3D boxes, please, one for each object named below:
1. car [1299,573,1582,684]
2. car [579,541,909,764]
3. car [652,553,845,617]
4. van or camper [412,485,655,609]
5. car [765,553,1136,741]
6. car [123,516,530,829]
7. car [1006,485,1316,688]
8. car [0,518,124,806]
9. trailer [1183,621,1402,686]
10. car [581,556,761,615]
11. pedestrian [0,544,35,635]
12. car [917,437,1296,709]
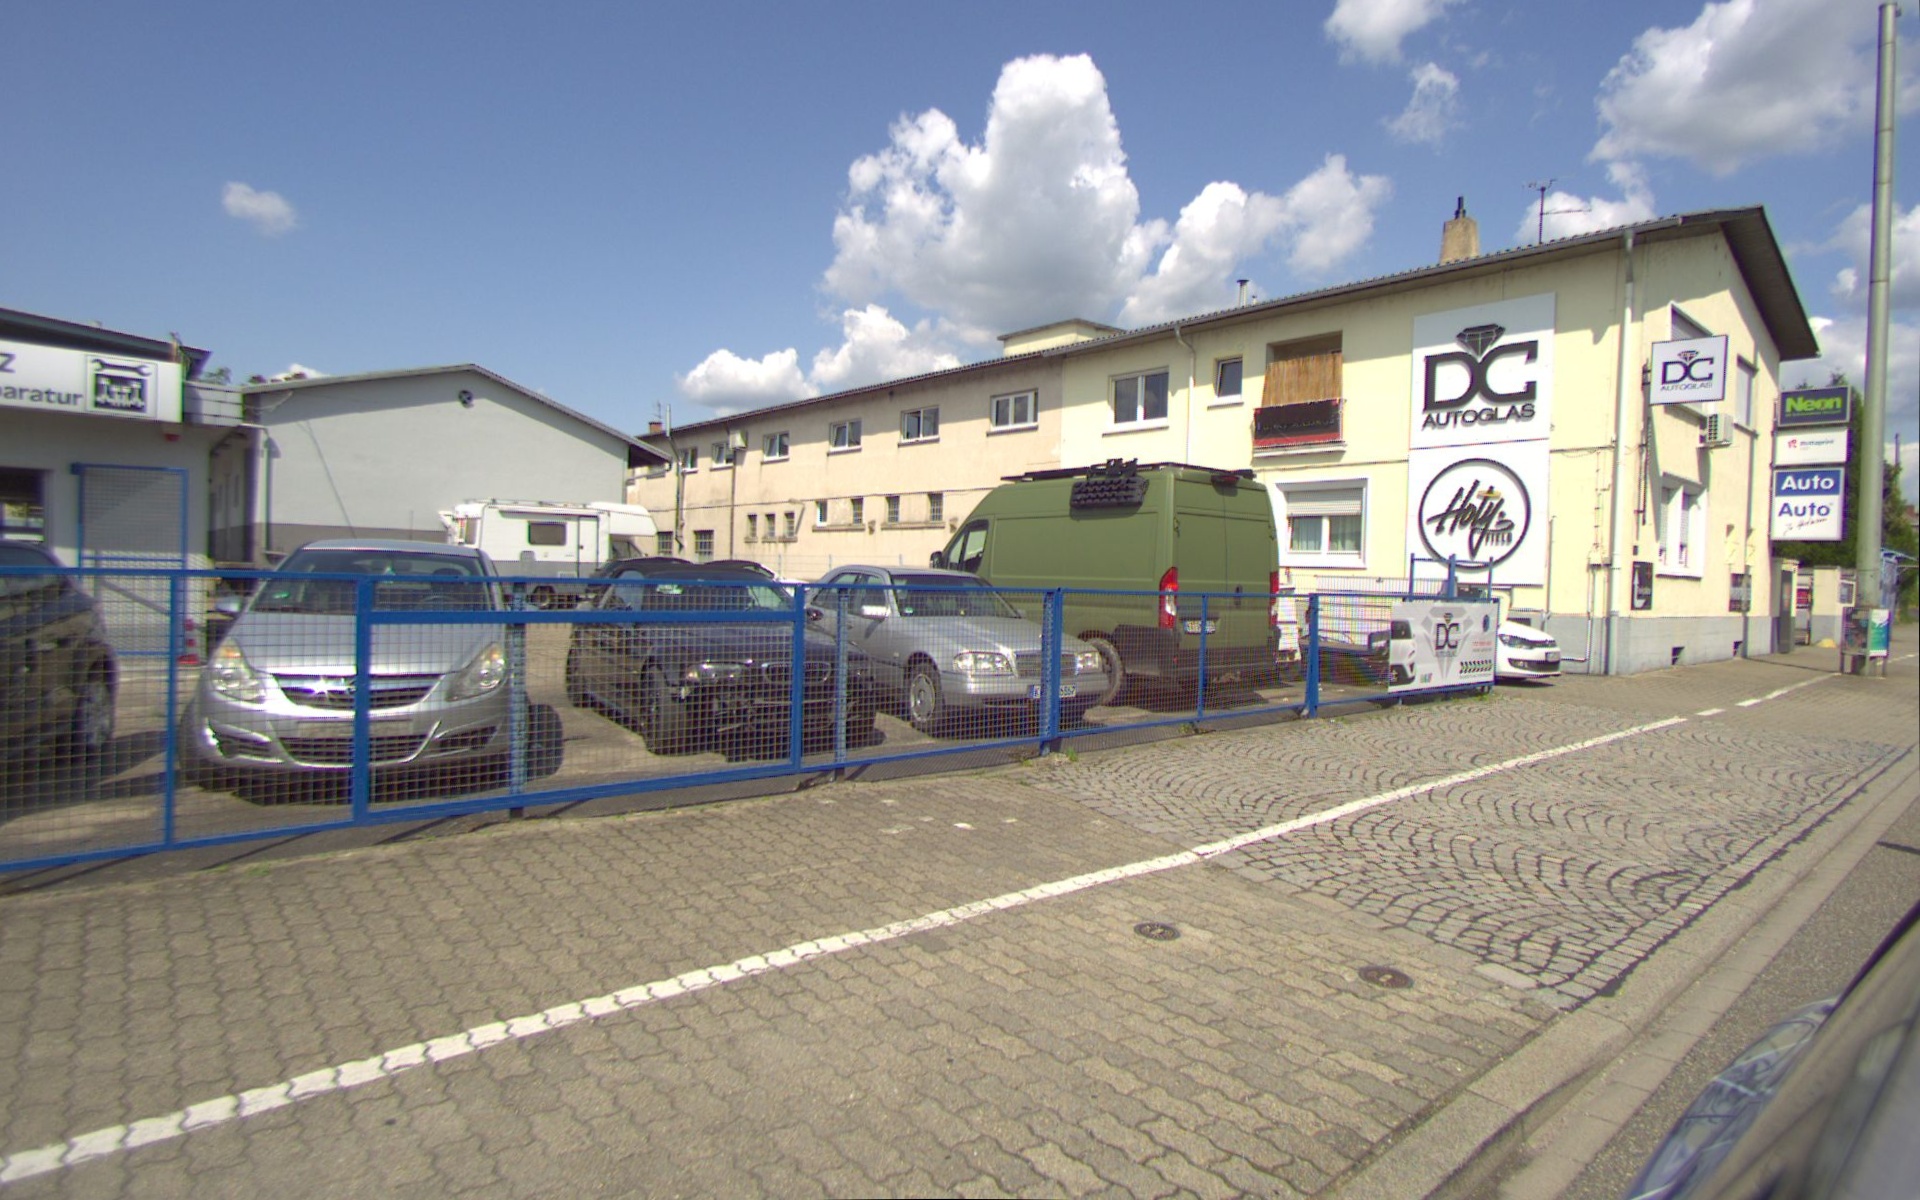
[{"bbox_3d":[7.534,0.366,16.170,1.527,1.481,3.775,1,2,-39],"label":"car"},{"bbox_3d":[-2.129,0.278,8.889,1.737,1.470,4.128,1,2,-28],"label":"car"},{"bbox_3d":[-4.844,-0.343,23.540,4.112,1.378,1.645,0,2,-41],"label":"car"},{"bbox_3d":[-11.303,-1.319,27.103,5.556,3.002,2.272,0,2,-42],"label":"van or camper"},{"bbox_3d":[-0.339,0.291,10.194,1.679,1.470,4.292,1,2,-33],"label":"car"},{"bbox_3d":[-3.899,0.285,6.832,1.736,1.470,3.778,1,2,-24],"label":"car"},{"bbox_3d":[2.650,-0.242,14.241,1.557,2.436,4.208,1,2,-39],"label":"car"},{"bbox_3d":[-5.636,0.308,4.861,1.606,1.470,3.700,1,2,-25],"label":"car"},{"bbox_3d":[4.749,0.730,14.642,1.307,0.674,2.730,0,2,-42],"label":"trailer"},{"bbox_3d":[-7.306,-0.353,25.803,4.112,1.378,1.645,0,2,-41],"label":"car"},{"bbox_3d":[-13.161,-0.152,13.874,0.652,1.224,0.566,1,1,-39],"label":"pedestrian"},{"bbox_3d":[1.587,-0.345,12.247,2.075,2.675,4.208,1,2,-39],"label":"car"}]
